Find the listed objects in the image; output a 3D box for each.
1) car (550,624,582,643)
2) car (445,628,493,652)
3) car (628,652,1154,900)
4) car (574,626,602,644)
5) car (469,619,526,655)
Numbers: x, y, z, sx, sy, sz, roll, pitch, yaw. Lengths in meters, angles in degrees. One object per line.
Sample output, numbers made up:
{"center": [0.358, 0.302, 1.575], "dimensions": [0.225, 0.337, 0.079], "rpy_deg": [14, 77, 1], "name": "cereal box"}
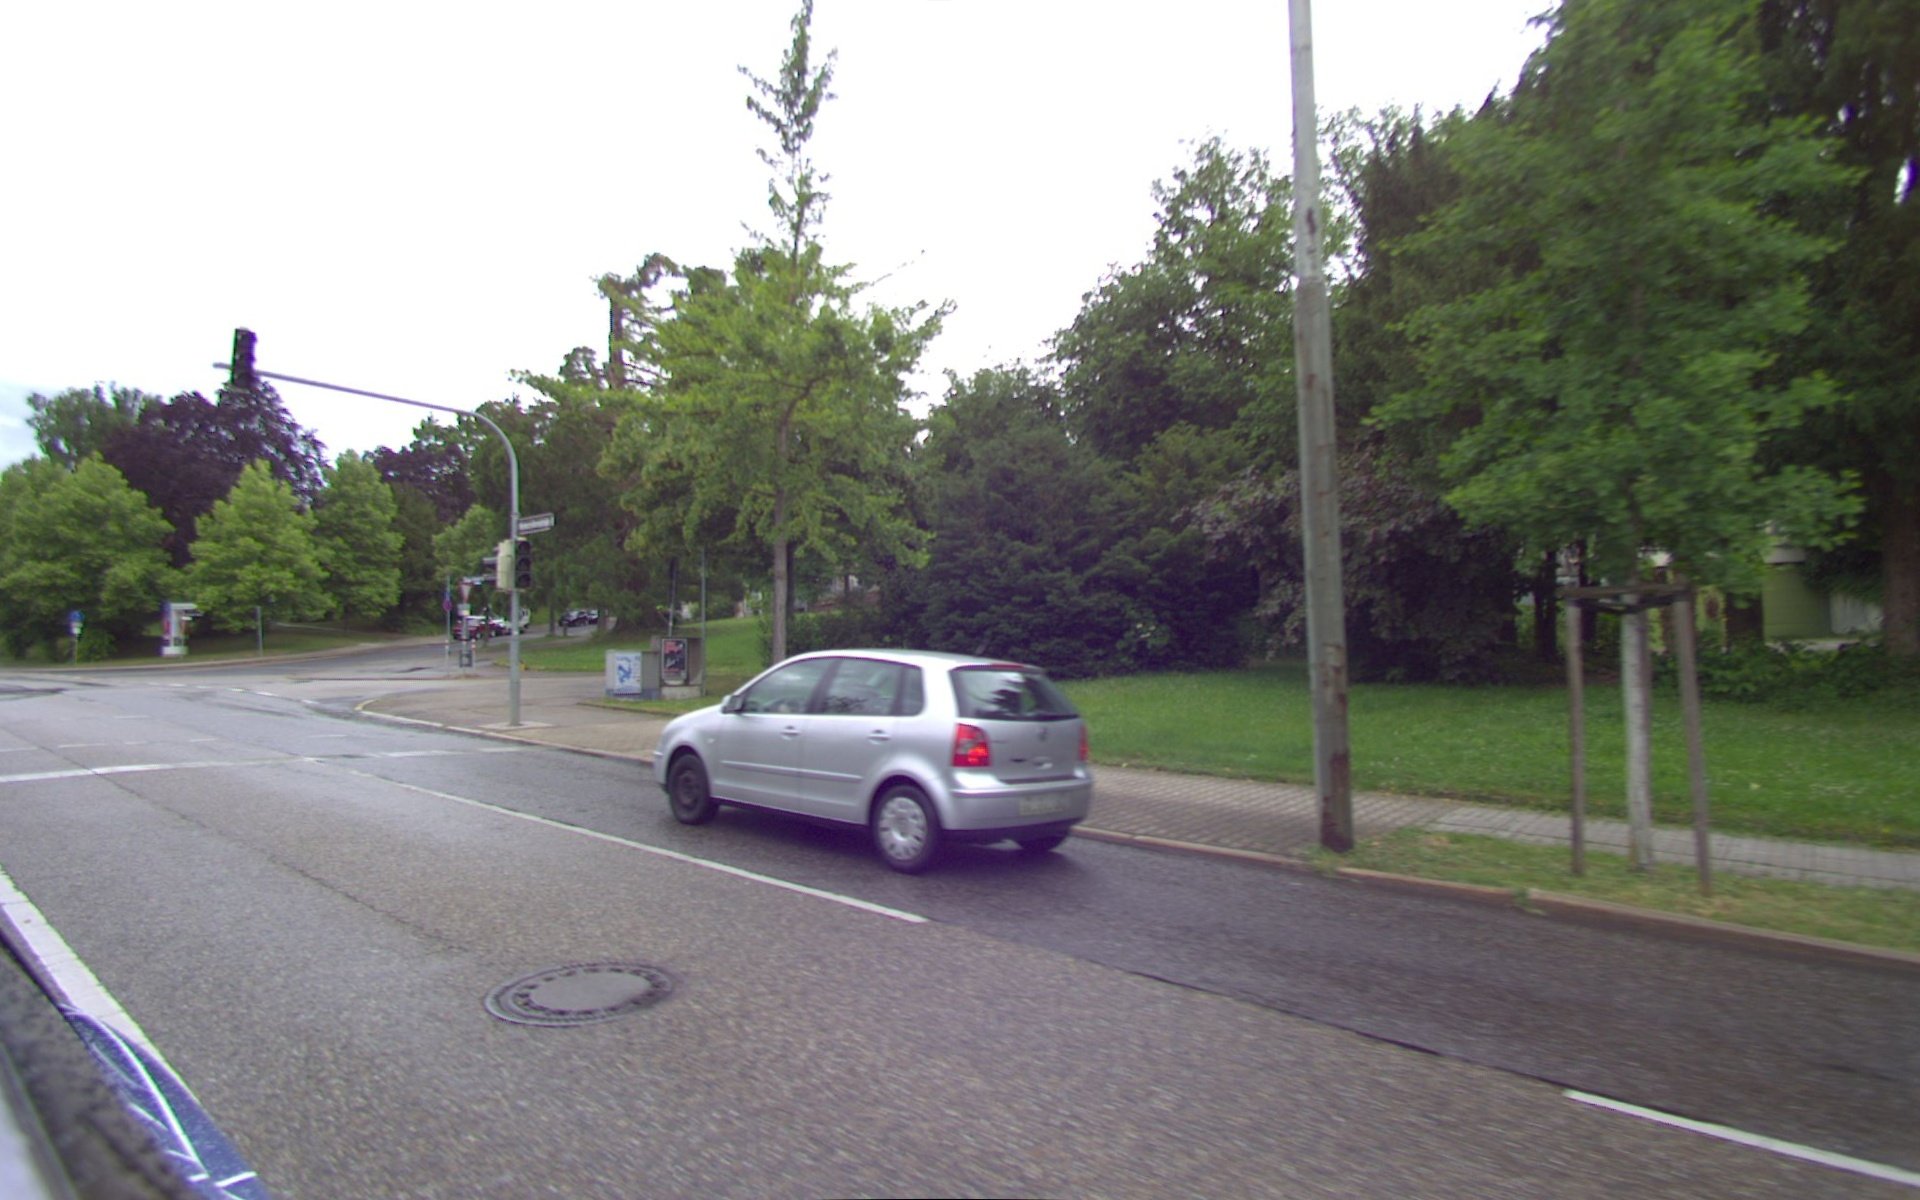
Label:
{"center": [-37.027, 3.118, 95.190], "dimensions": [1.799, 1.681, 4.006], "rpy_deg": [-1, -2, -7], "name": "car"}
{"center": [-36.489, 2.980, 75.339], "dimensions": [1.947, 1.681, 4.005], "rpy_deg": [-1, -2, -6], "name": "car"}
{"center": [-0.691, 1.156, 7.821], "dimensions": [3.998, 1.410, 1.703], "rpy_deg": [-2, -7, 41], "name": "car"}
{"center": [-37.022, 3.490, 100.798], "dimensions": [1.799, 1.681, 4.006], "rpy_deg": [-1, -2, -7], "name": "car"}
{"center": [-36.829, 2.962, 80.769], "dimensions": [2.126, 2.720, 5.672], "rpy_deg": [-1, -2, -2], "name": "car"}
